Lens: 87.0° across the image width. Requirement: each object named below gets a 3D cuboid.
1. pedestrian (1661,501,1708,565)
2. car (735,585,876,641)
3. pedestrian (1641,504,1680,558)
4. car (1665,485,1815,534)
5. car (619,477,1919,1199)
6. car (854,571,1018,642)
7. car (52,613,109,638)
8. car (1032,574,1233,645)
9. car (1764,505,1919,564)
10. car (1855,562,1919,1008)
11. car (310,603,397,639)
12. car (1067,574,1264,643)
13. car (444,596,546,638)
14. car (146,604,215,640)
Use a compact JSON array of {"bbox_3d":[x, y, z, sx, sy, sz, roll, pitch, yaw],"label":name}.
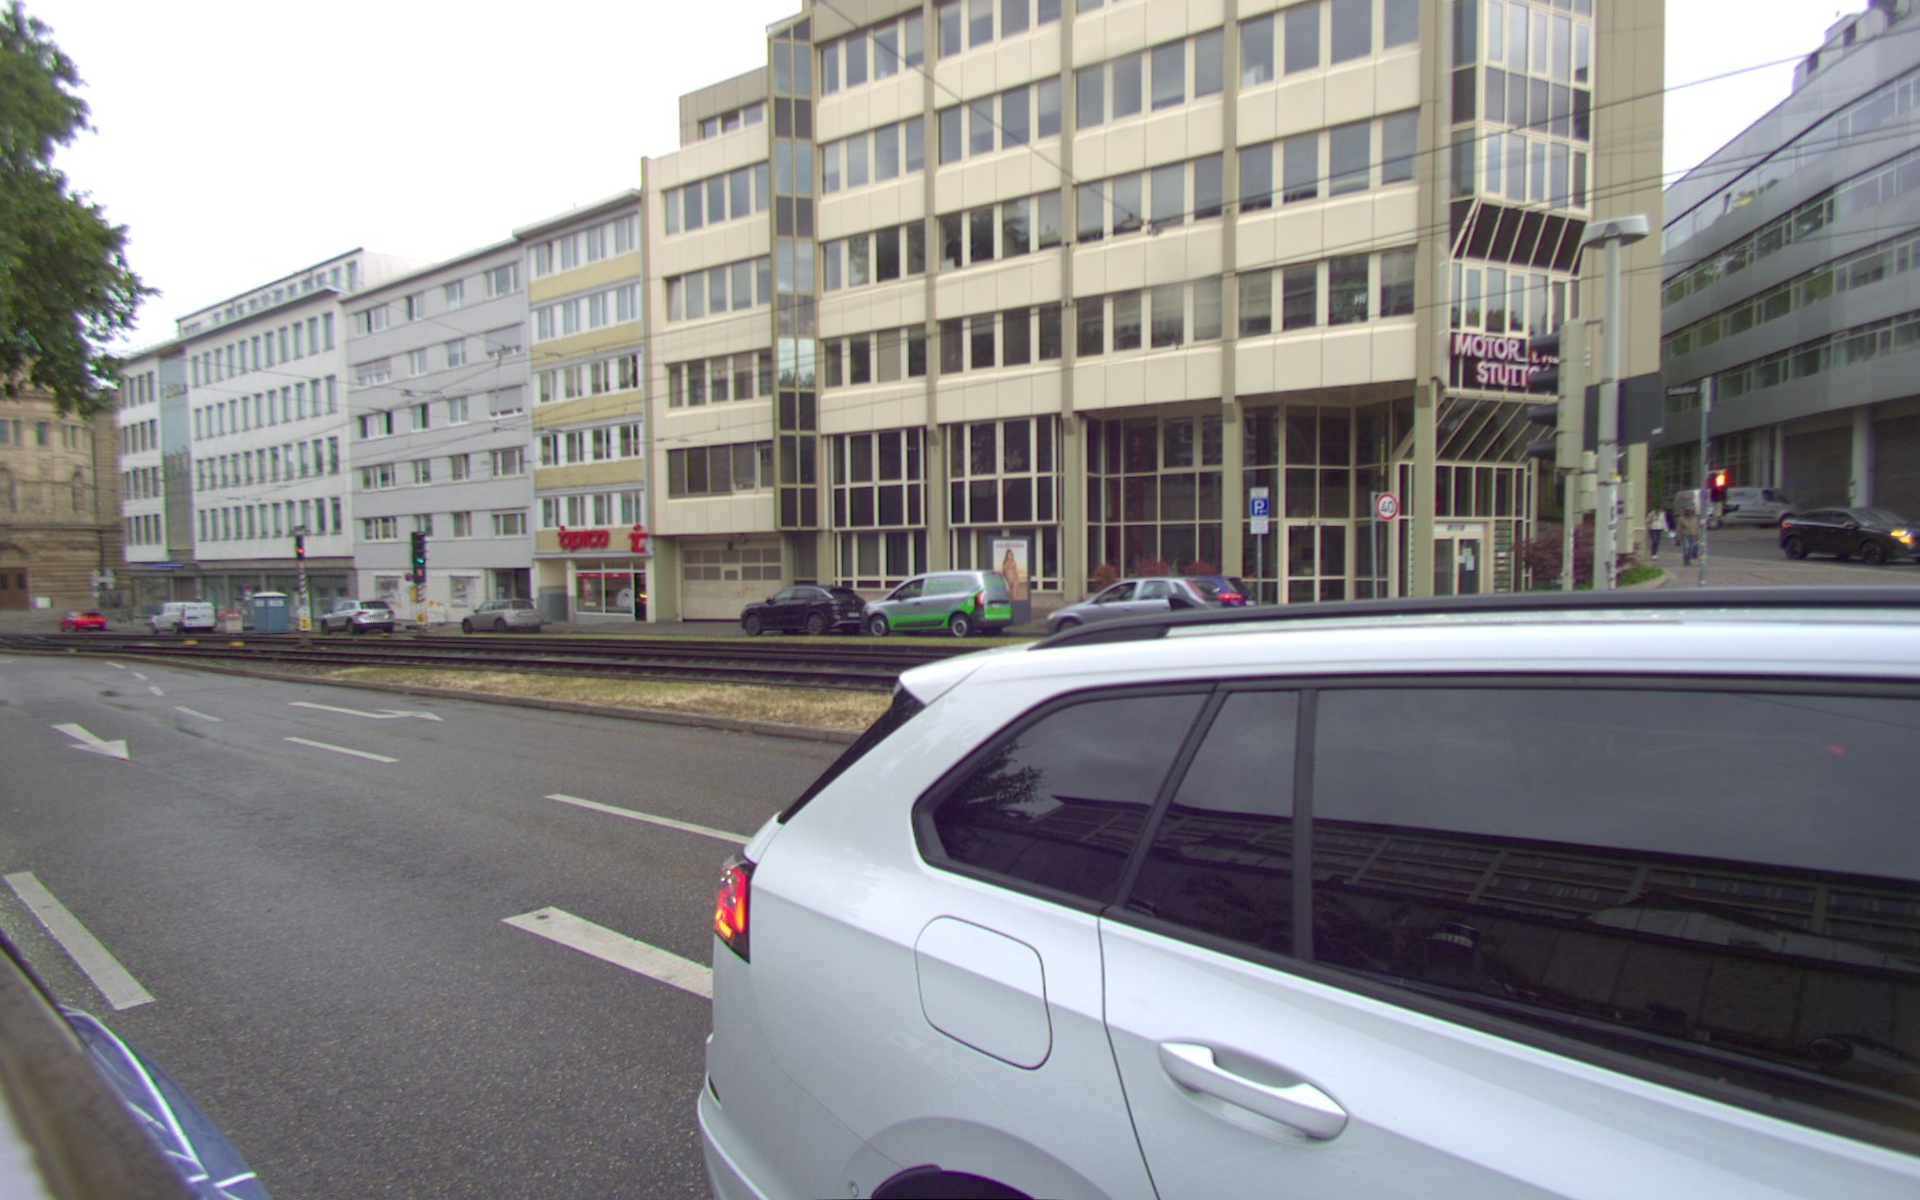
[{"bbox_3d":[20.954,-1.934,29.292,0.821,1.800,0.759,-2,3,6],"label":"pedestrian"},{"bbox_3d":[-4.728,0.380,30.761,4.066,1.524,1.782,-1,3,34],"label":"car"},{"bbox_3d":[21.994,-2.161,31.800,0.711,1.651,0.759,-2,3,6],"label":"pedestrian"},{"bbox_3d":[37.614,-4.345,48.946,5.357,2.029,1.993,-1,0,12],"label":"car"},{"bbox_3d":[1.600,0.623,1.168,4.473,1.453,1.777,-1,0,41],"label":"car"},{"bbox_3d":[-0.687,0.170,27.871,4.204,1.759,1.782,-1,2,33],"label":"car"},{"bbox_3d":[-62.221,1.780,71.562,4.465,1.636,1.869,-1,3,34],"label":"car"},{"bbox_3d":[3.636,0.209,21.452,3.856,1.367,1.616,-1,2,30],"label":"car"},{"bbox_3d":[27.518,-2.066,31.018,1.974,1.591,4.884,-2,5,3],"label":"car"},{"bbox_3d":[5.289,0.574,2.566,4.473,1.453,1.777,-1,0,41],"label":"car"},{"bbox_3d":[-28.323,0.950,47.215,4.066,1.524,1.869,-1,3,34],"label":"car"},{"bbox_3d":[4.805,0.194,23.857,4.207,1.488,1.780,-1,0,35],"label":"car"},{"bbox_3d":[-18.726,0.666,40.713,4.066,1.524,1.782,-1,3,34],"label":"car"},{"bbox_3d":[-46.563,1.290,60.458,4.465,1.949,1.869,-1,3,34],"label":"car"}]
